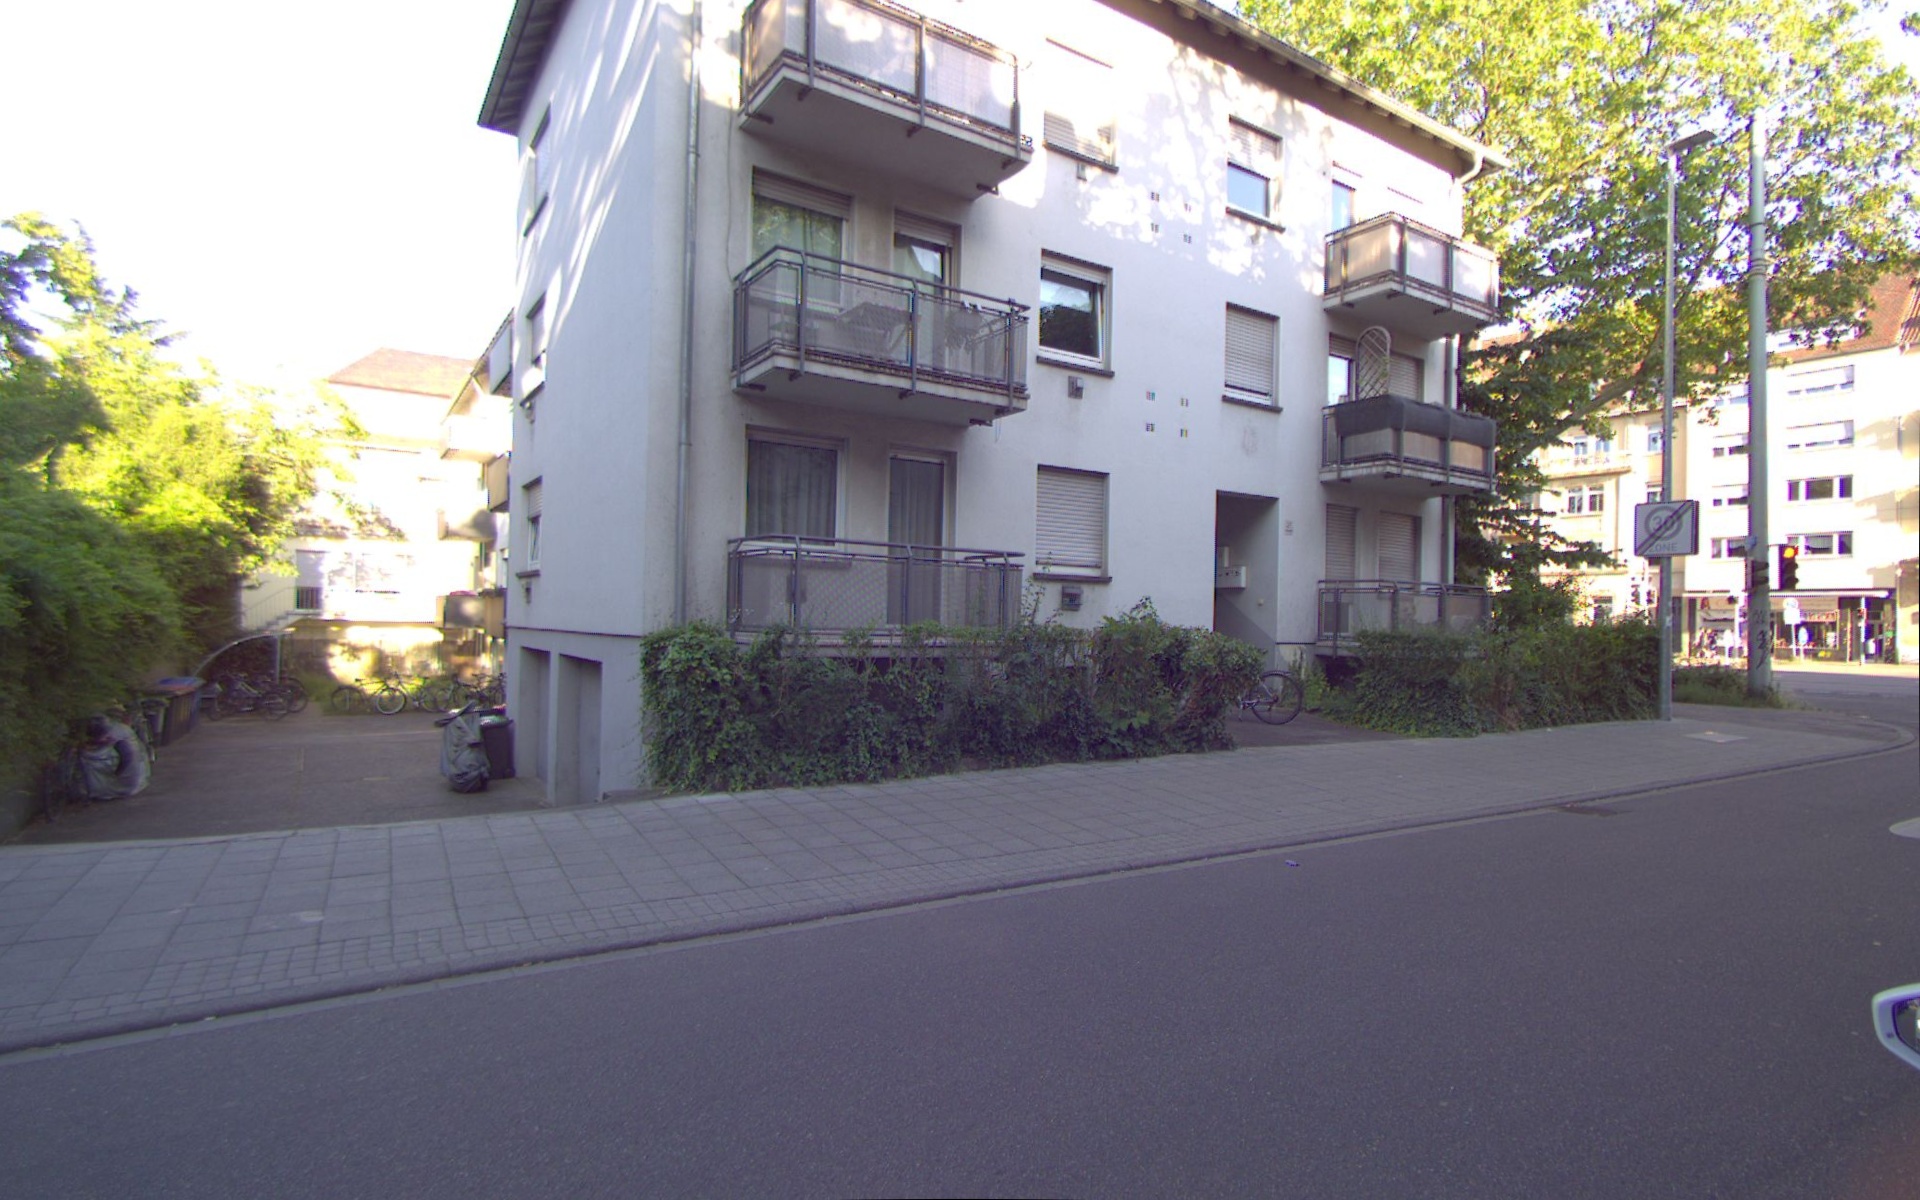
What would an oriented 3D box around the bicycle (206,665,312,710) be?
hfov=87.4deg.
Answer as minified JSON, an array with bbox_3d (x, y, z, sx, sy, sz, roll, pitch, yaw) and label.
[{"bbox_3d":[-19.370,2.413,27.821,2.311,1.192,0.689,2,-4,-30],"label":"bicycle"}]

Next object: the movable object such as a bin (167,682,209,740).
[{"bbox_3d":[-15.928,2.271,20.729,0.606,1.129,0.795,1,-3,-33],"label":"movable object such as a bin"}]

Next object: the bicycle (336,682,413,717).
[{"bbox_3d":[-15.563,2.640,26.750,1.734,0.890,0.561,2,-4,-30],"label":"bicycle"}]

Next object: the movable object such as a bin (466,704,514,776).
[{"bbox_3d":[-7.914,2.337,16.907,0.606,1.129,0.795,1,-3,-33],"label":"movable object such as a bin"}]

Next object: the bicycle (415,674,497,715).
[{"bbox_3d":[-13.909,2.587,27.750,1.982,1.085,0.561,2,-4,-30],"label":"bicycle"}]

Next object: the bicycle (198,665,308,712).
[{"bbox_3d":[-19.023,2.367,27.096,2.311,1.192,0.689,2,-4,-30],"label":"bicycle"}]

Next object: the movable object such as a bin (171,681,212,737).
[{"bbox_3d":[-16.360,2.301,21.391,0.606,1.129,0.795,1,-3,-33],"label":"movable object such as a bin"}]

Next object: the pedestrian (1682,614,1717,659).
[{"bbox_3d":[42.711,2.096,58.012,1.049,2.497,1.338,1,0,-34],"label":"pedestrian"}]

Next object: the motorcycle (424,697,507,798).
[{"bbox_3d":[-7.402,2.161,15.012,0.739,1.313,1.563,2,-2,-41],"label":"motorcycle"}]

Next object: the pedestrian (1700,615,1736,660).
[{"bbox_3d":[42.576,2.083,56.401,1.049,2.497,1.338,1,0,-34],"label":"pedestrian"}]

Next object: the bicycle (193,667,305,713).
[{"bbox_3d":[-18.598,2.340,26.350,2.311,1.148,0.689,2,-4,-30],"label":"bicycle"}]

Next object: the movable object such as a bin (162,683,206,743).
[{"bbox_3d":[-15.487,2.238,20.059,0.606,1.129,0.795,1,-3,-33],"label":"movable object such as a bin"}]

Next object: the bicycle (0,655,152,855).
[{"bbox_3d":[-10.600,1.665,11.984,0.961,1.917,4.156,1,-2,-32],"label":"bicycle"}]

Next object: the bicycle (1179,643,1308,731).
[{"bbox_3d":[3.831,1.156,13.575,1.590,1.022,0.517,3,1,20],"label":"bicycle"}]

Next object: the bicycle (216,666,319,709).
[{"bbox_3d":[-19.640,2.467,28.546,2.311,1.192,0.689,2,-4,-30],"label":"bicycle"}]

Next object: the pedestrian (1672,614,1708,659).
[{"bbox_3d":[41.339,2.034,56.886,1.049,2.497,1.338,1,0,-34],"label":"pedestrian"}]

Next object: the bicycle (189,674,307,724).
[{"bbox_3d":[-17.334,2.397,24.531,2.268,1.148,0.689,2,-4,-30],"label":"bicycle"}]

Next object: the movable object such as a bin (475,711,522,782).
[{"bbox_3d":[-7.399,2.336,16.094,0.606,1.051,0.534,1,-3,-34],"label":"movable object such as a bin"}]
